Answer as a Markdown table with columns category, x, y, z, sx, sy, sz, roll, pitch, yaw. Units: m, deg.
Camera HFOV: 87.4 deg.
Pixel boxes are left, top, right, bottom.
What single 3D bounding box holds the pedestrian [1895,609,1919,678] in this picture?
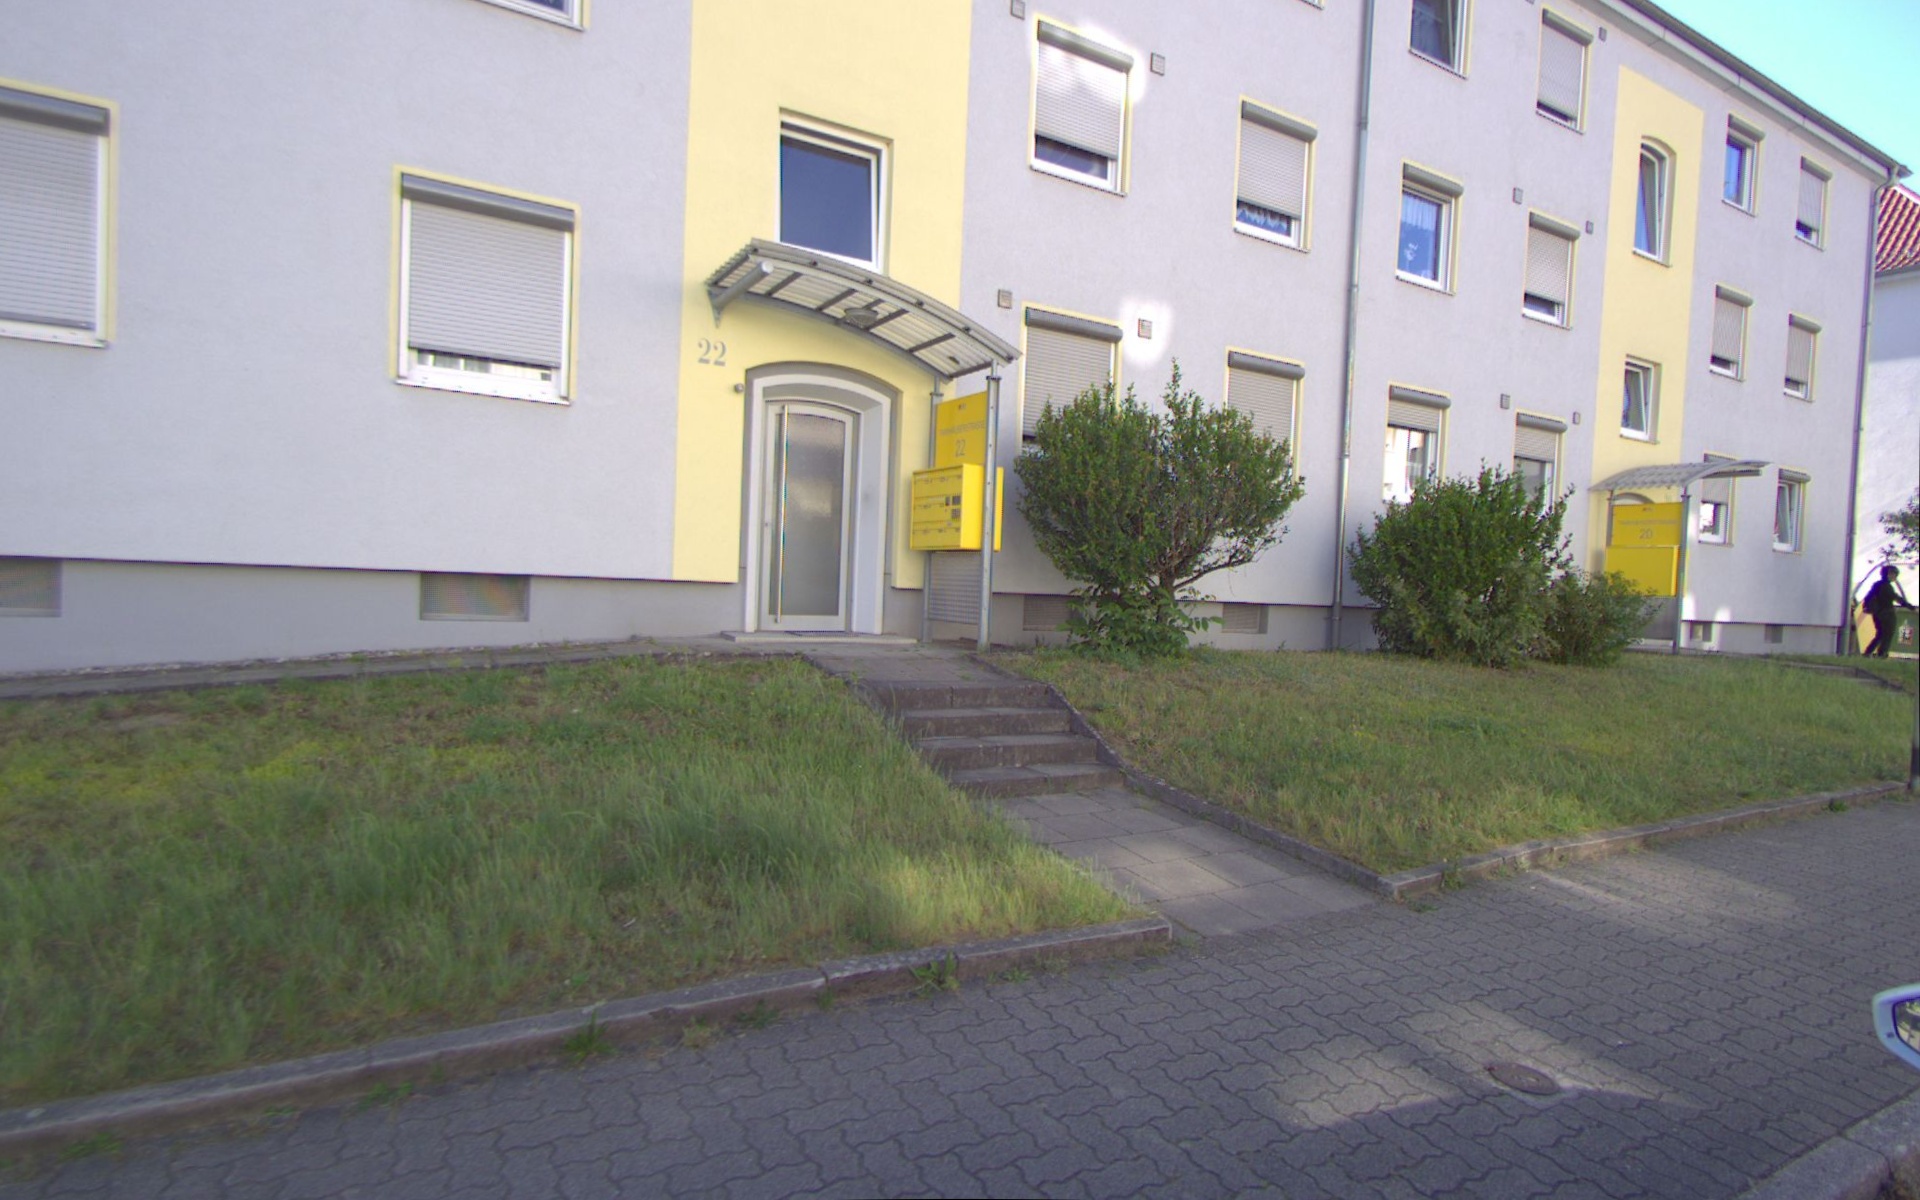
| category | x | y | z | sx | sy | sz | roll | pitch | yaw |
| --- | --- | --- | --- | --- | --- | --- | --- | --- | --- |
| pedestrian | 18.980 | 0.852 | 19.761 | 0.568 | 1.335 | 0.683 | 1 | 1 | -29 |

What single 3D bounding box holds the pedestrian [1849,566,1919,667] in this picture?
| category | x | y | z | sx | sy | sz | roll | pitch | yaw |
| --- | --- | --- | --- | --- | --- | --- | --- | --- | --- |
| pedestrian | 17.474 | 0.297 | 18.946 | 0.709 | 1.848 | 0.802 | 1 | 1 | -29 |

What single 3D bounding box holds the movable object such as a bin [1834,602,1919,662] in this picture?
| category | x | y | z | sx | sy | sz | roll | pitch | yaw |
| --- | --- | --- | --- | --- | --- | --- | --- | --- | --- |
| movable object such as a bin | 22.839 | 0.773 | 24.890 | 1.214 | 1.354 | 1.381 | 1 | 3 | -30 |

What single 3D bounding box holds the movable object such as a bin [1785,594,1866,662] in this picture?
| category | x | y | z | sx | sy | sz | roll | pitch | yaw |
| --- | --- | --- | --- | --- | --- | --- | --- | --- | --- |
| movable object such as a bin | 19.047 | 0.605 | 22.109 | 0.803 | 1.425 | 1.079 | 1 | 2 | -29 |
